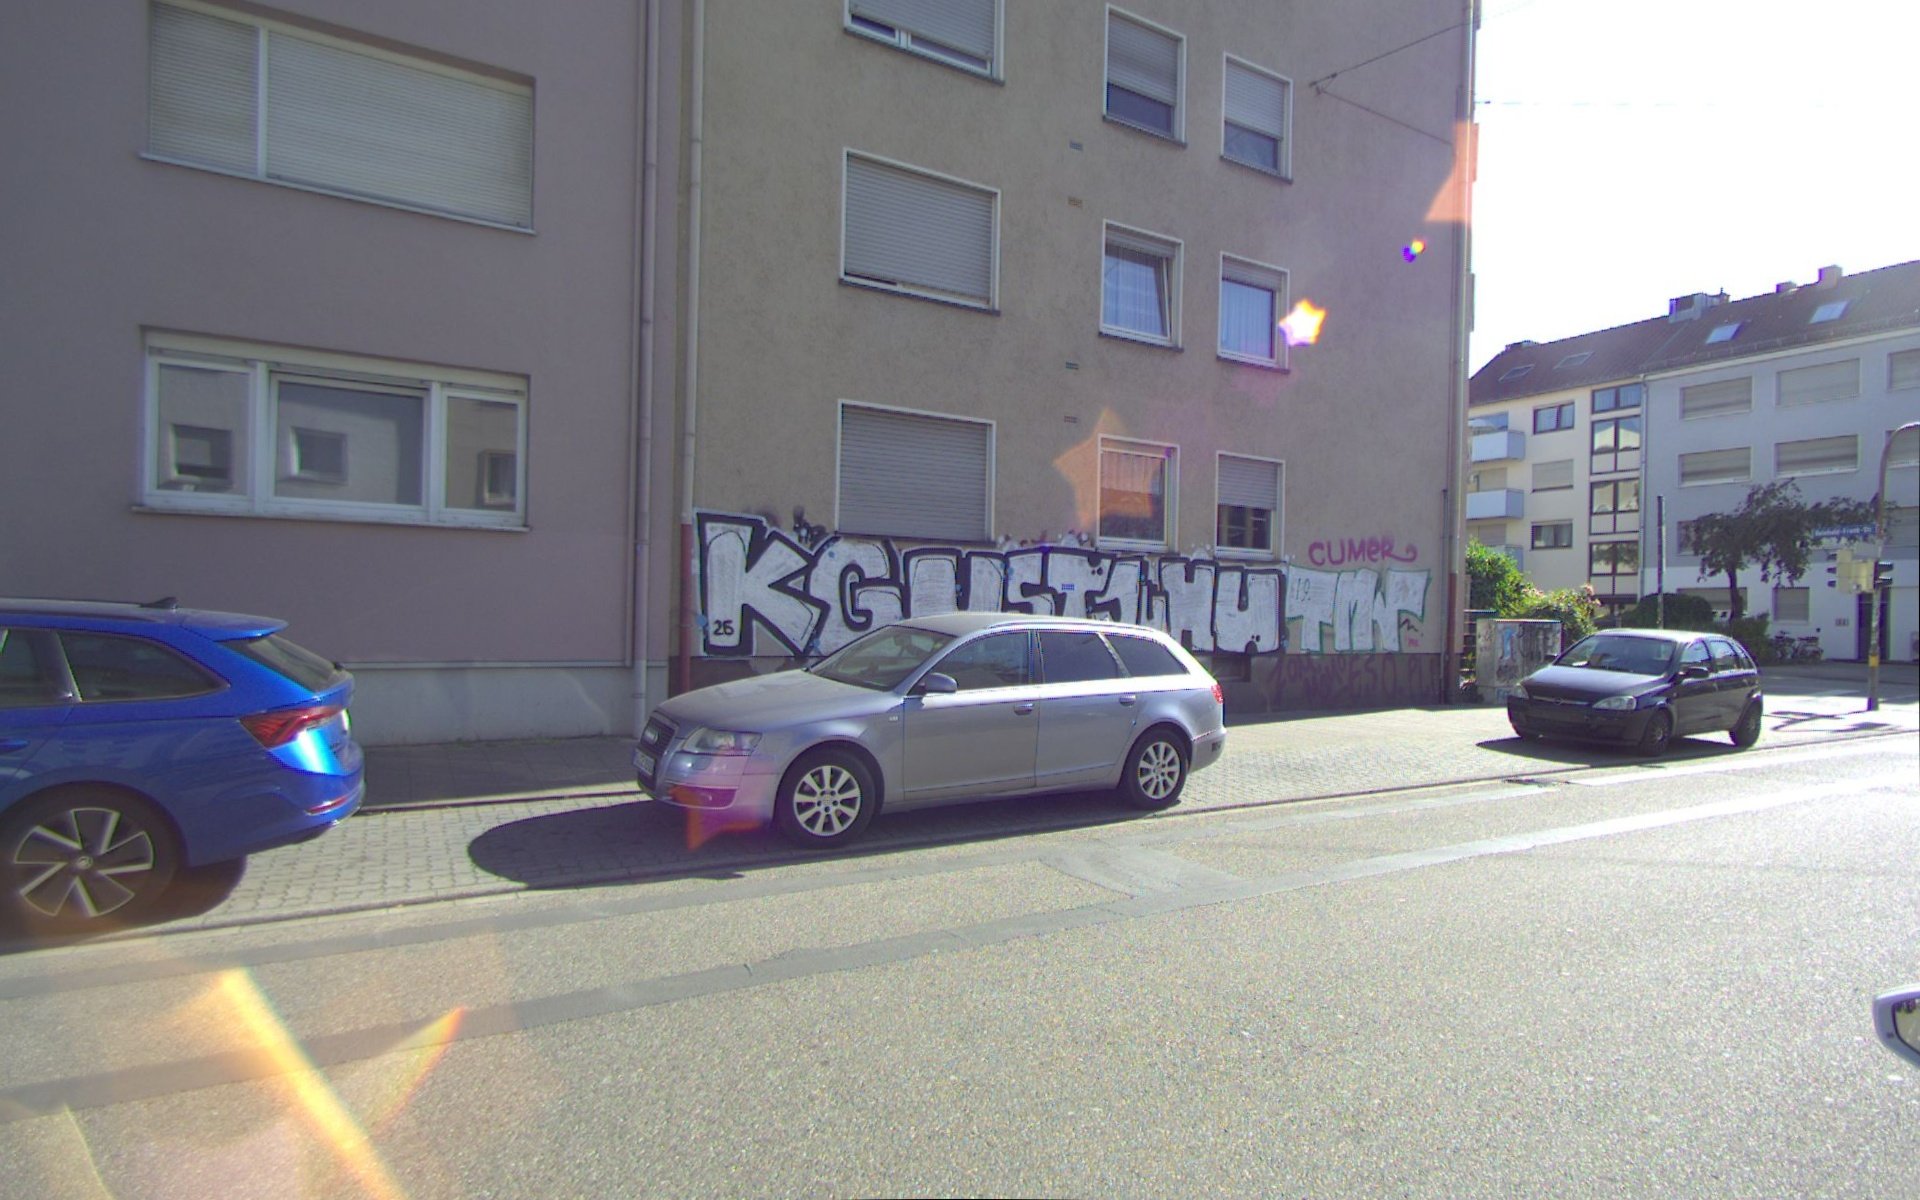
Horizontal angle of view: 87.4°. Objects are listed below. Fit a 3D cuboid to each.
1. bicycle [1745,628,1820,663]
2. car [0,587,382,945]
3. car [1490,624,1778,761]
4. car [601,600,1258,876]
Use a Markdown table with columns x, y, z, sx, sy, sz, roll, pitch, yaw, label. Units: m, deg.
| x | y | z | sx | sy | sz | roll | pitch | yaw | label |
| --- | --- | --- | --- | --- | --- | --- | --- | --- | --- |
| 29.773 | 1.629 | 36.405 | 2.068 | 1.188 | 0.738 | 0 | -1 | 37 | bicycle |
| -5.312 | 0.697 | 4.625 | 4.559 | 1.485 | 1.708 | 1 | 2 | -31 | car |
| 8.629 | 1.086 | 12.815 | 3.667 | 1.444 | 1.608 | 1 | 1 | -31 | car |
| -0.083 | 0.838 | 7.671 | 4.759 | 1.485 | 1.708 | 1 | 3 | -31 | car |
